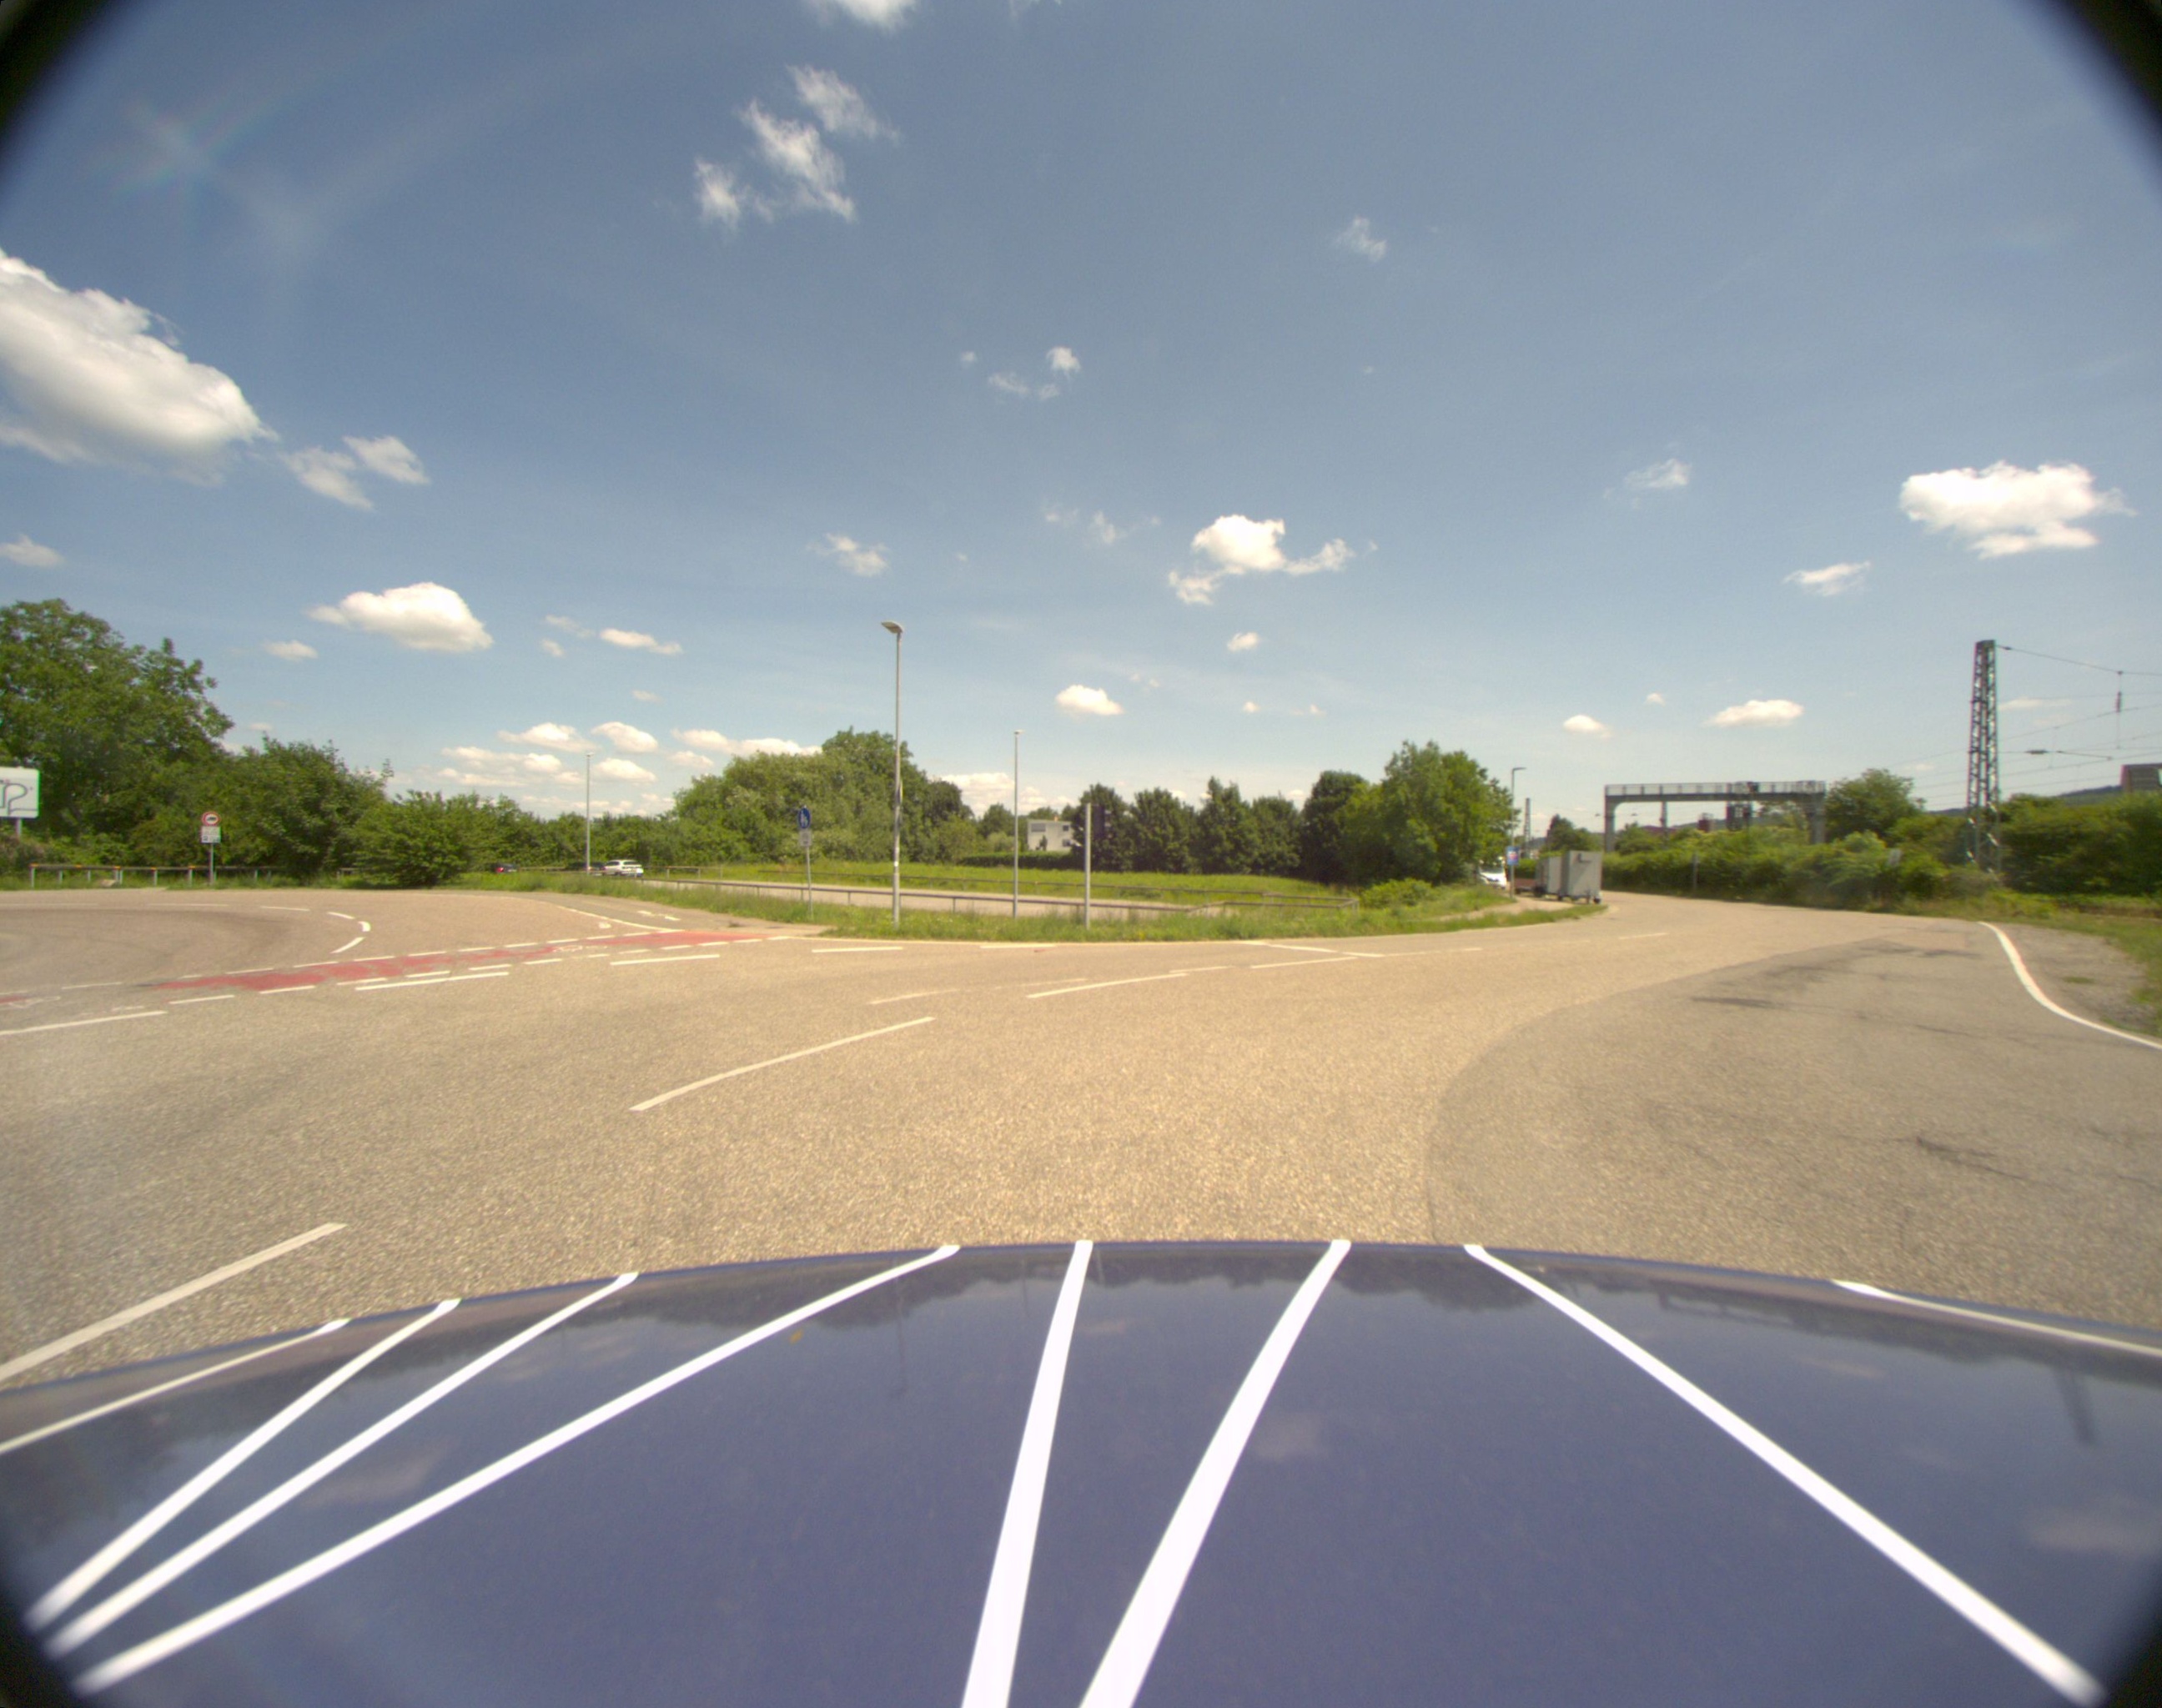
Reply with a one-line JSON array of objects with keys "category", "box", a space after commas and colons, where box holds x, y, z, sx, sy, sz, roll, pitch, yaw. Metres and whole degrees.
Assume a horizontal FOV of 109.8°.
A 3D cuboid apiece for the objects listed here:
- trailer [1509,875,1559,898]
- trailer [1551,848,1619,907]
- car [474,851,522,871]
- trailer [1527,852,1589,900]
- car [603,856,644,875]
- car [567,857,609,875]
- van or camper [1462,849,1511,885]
[{"category": "trailer", "box": [28.666, 2.028, 48.250, 2.006, 1.116, 4.496, 3, 1, 22]}, {"category": "trailer", "box": [25.143, 1.141, 38.095, 1.934, 2.629, 5.193, 4, 1, 25]}, {"category": "car", "box": [-40.426, 0.520, 52.703, 3.110, 1.330, 1.421, -1, 0, 28]}, {"category": "trailer", "box": [27.440, 1.232, 43.878, 1.920, 2.494, 4.748, 3, 1, 19]}, {"category": "car", "box": [-36.145, 0.923, 60.001, 3.110, 1.495, 1.421, -1, 0, 31]}, {"category": "car", "box": [-37.194, 0.897, 57.357, 3.110, 1.330, 1.421, -1, 0, 31]}, {"category": "van or camper", "box": [34.944, 1.088, 65.744, 2.441, 2.810, 7.635, 2, 0, 19]}]
